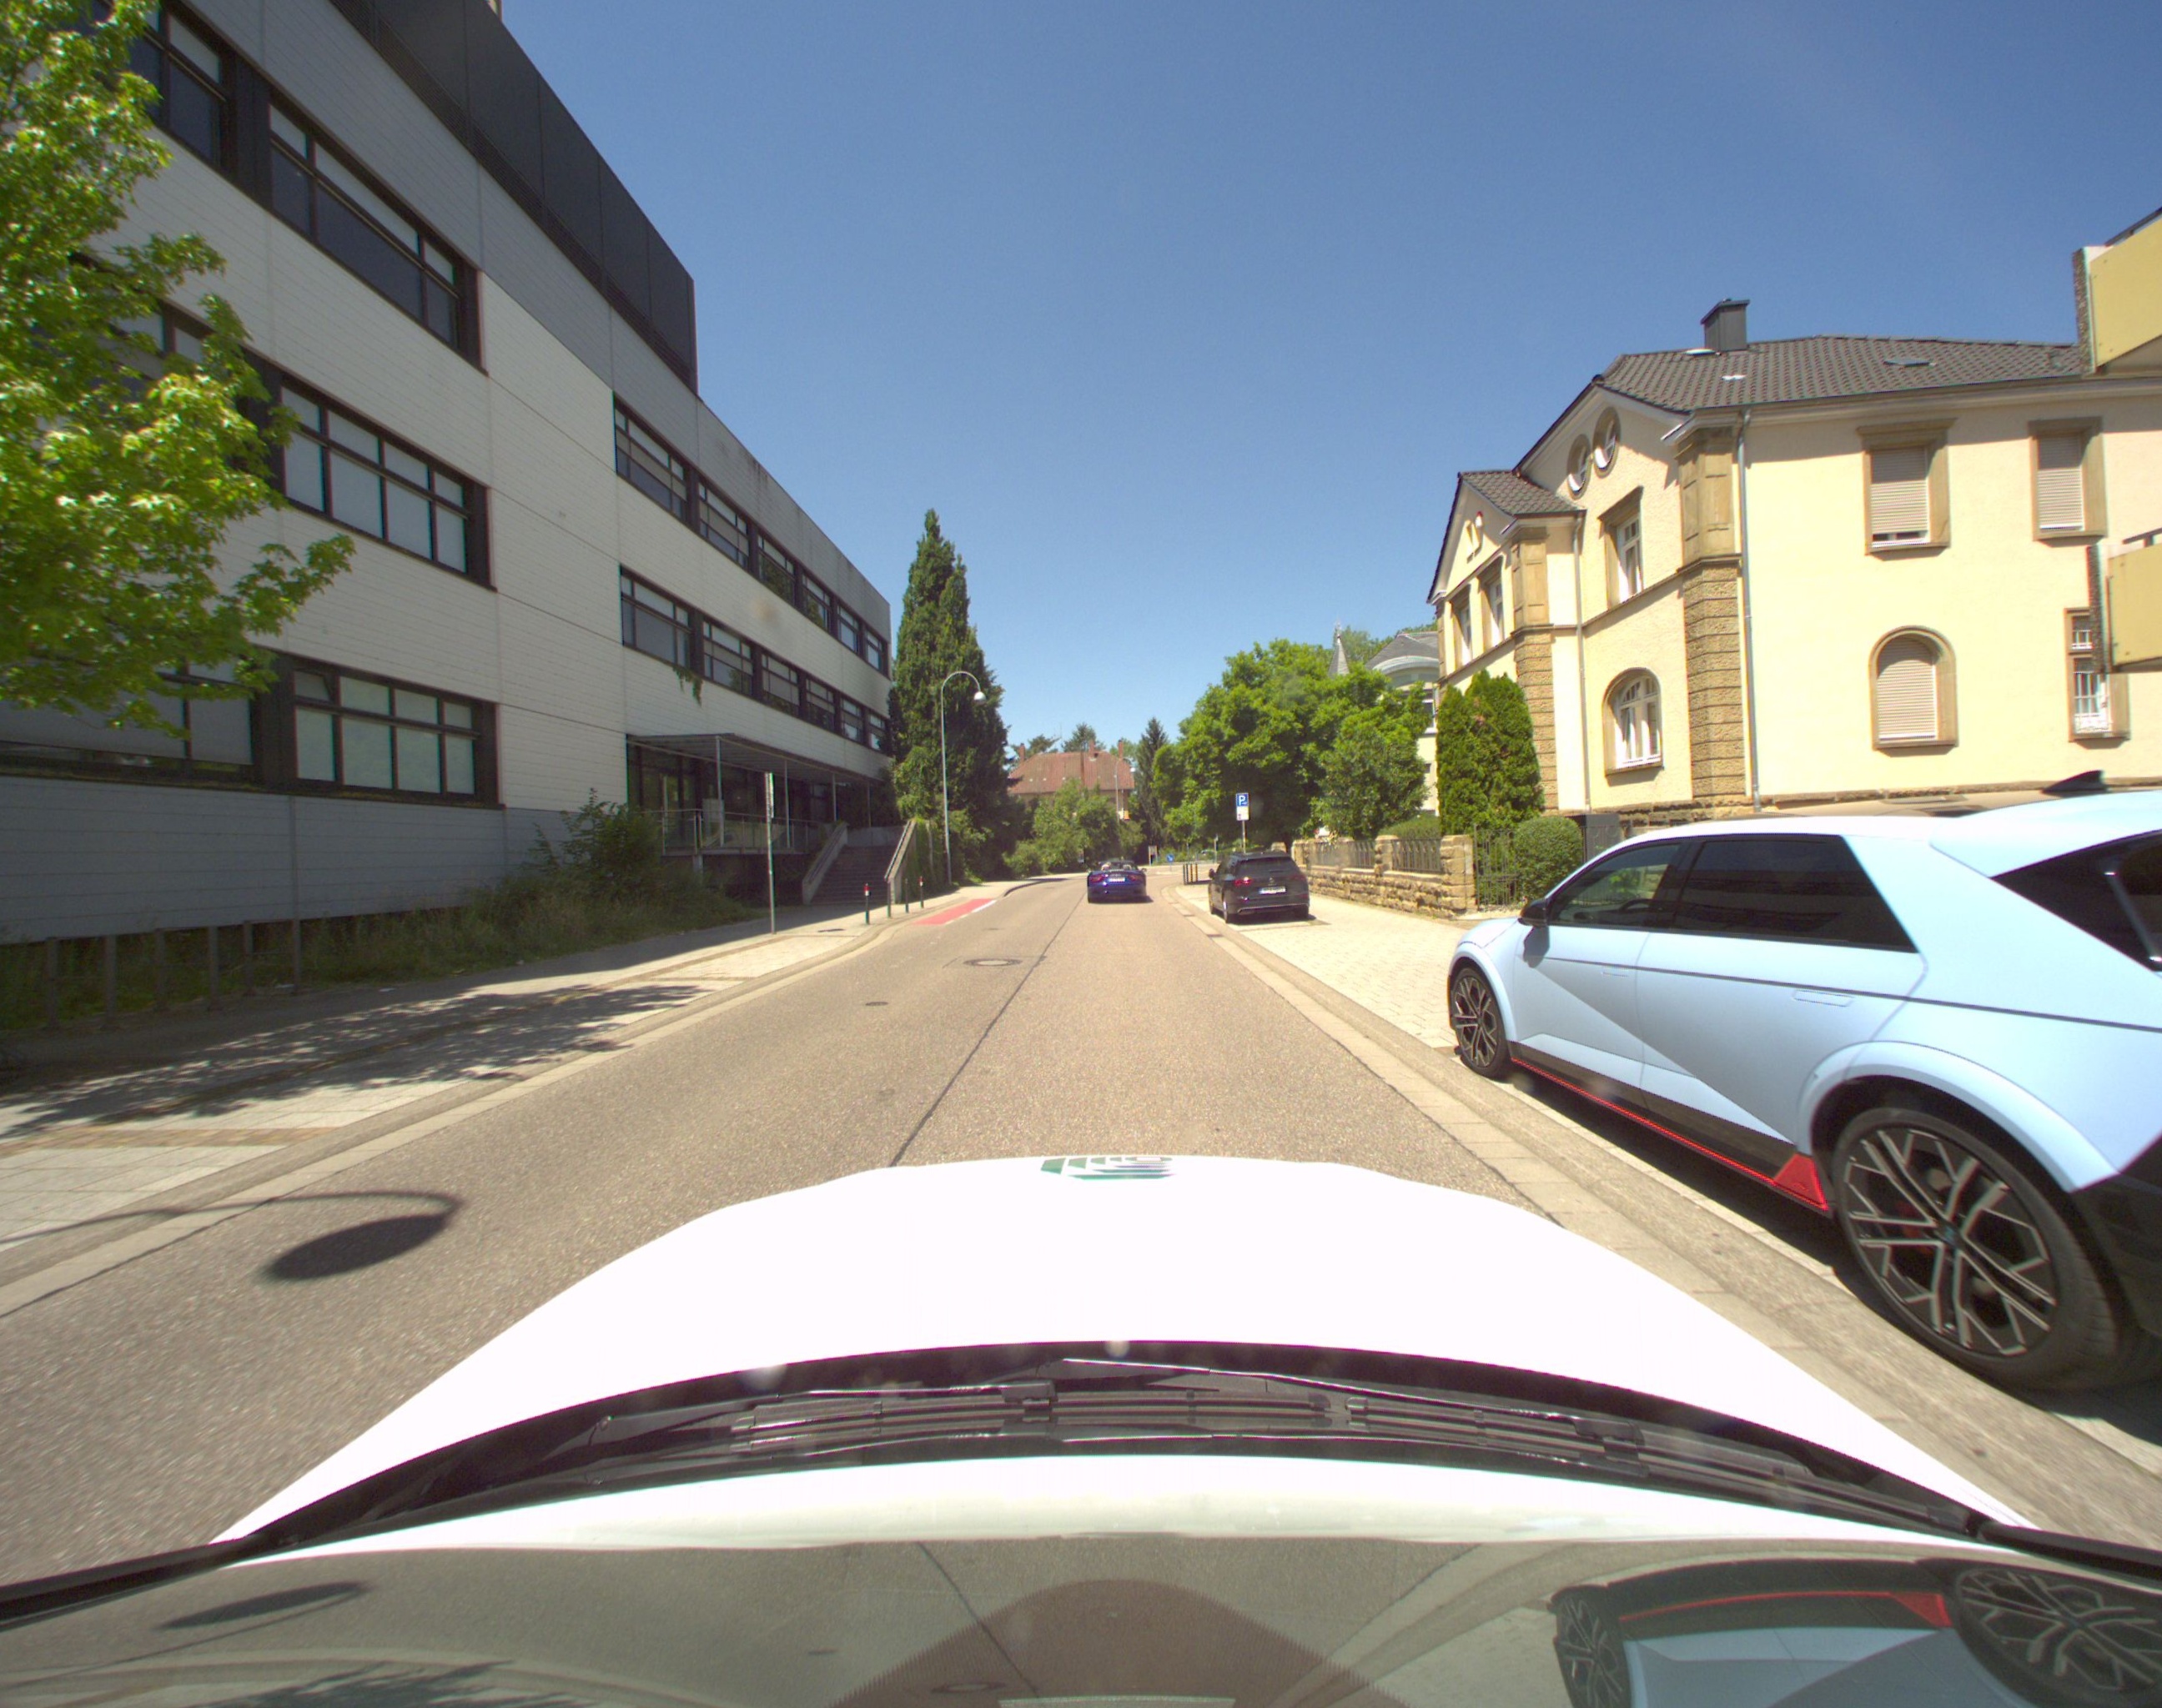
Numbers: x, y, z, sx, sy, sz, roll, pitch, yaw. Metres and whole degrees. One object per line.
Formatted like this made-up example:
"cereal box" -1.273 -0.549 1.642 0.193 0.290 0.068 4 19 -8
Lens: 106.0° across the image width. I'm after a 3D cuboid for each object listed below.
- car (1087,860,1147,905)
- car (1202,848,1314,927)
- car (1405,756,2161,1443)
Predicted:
"car" 1.195 0.886 27.424 1.819 1.337 4.702 -1 0 2
"car" 3.842 0.660 18.380 1.625 1.446 4.400 -5 0 2
"car" 3.405 0.522 4.127 1.836 1.619 4.430 -4 0 3
